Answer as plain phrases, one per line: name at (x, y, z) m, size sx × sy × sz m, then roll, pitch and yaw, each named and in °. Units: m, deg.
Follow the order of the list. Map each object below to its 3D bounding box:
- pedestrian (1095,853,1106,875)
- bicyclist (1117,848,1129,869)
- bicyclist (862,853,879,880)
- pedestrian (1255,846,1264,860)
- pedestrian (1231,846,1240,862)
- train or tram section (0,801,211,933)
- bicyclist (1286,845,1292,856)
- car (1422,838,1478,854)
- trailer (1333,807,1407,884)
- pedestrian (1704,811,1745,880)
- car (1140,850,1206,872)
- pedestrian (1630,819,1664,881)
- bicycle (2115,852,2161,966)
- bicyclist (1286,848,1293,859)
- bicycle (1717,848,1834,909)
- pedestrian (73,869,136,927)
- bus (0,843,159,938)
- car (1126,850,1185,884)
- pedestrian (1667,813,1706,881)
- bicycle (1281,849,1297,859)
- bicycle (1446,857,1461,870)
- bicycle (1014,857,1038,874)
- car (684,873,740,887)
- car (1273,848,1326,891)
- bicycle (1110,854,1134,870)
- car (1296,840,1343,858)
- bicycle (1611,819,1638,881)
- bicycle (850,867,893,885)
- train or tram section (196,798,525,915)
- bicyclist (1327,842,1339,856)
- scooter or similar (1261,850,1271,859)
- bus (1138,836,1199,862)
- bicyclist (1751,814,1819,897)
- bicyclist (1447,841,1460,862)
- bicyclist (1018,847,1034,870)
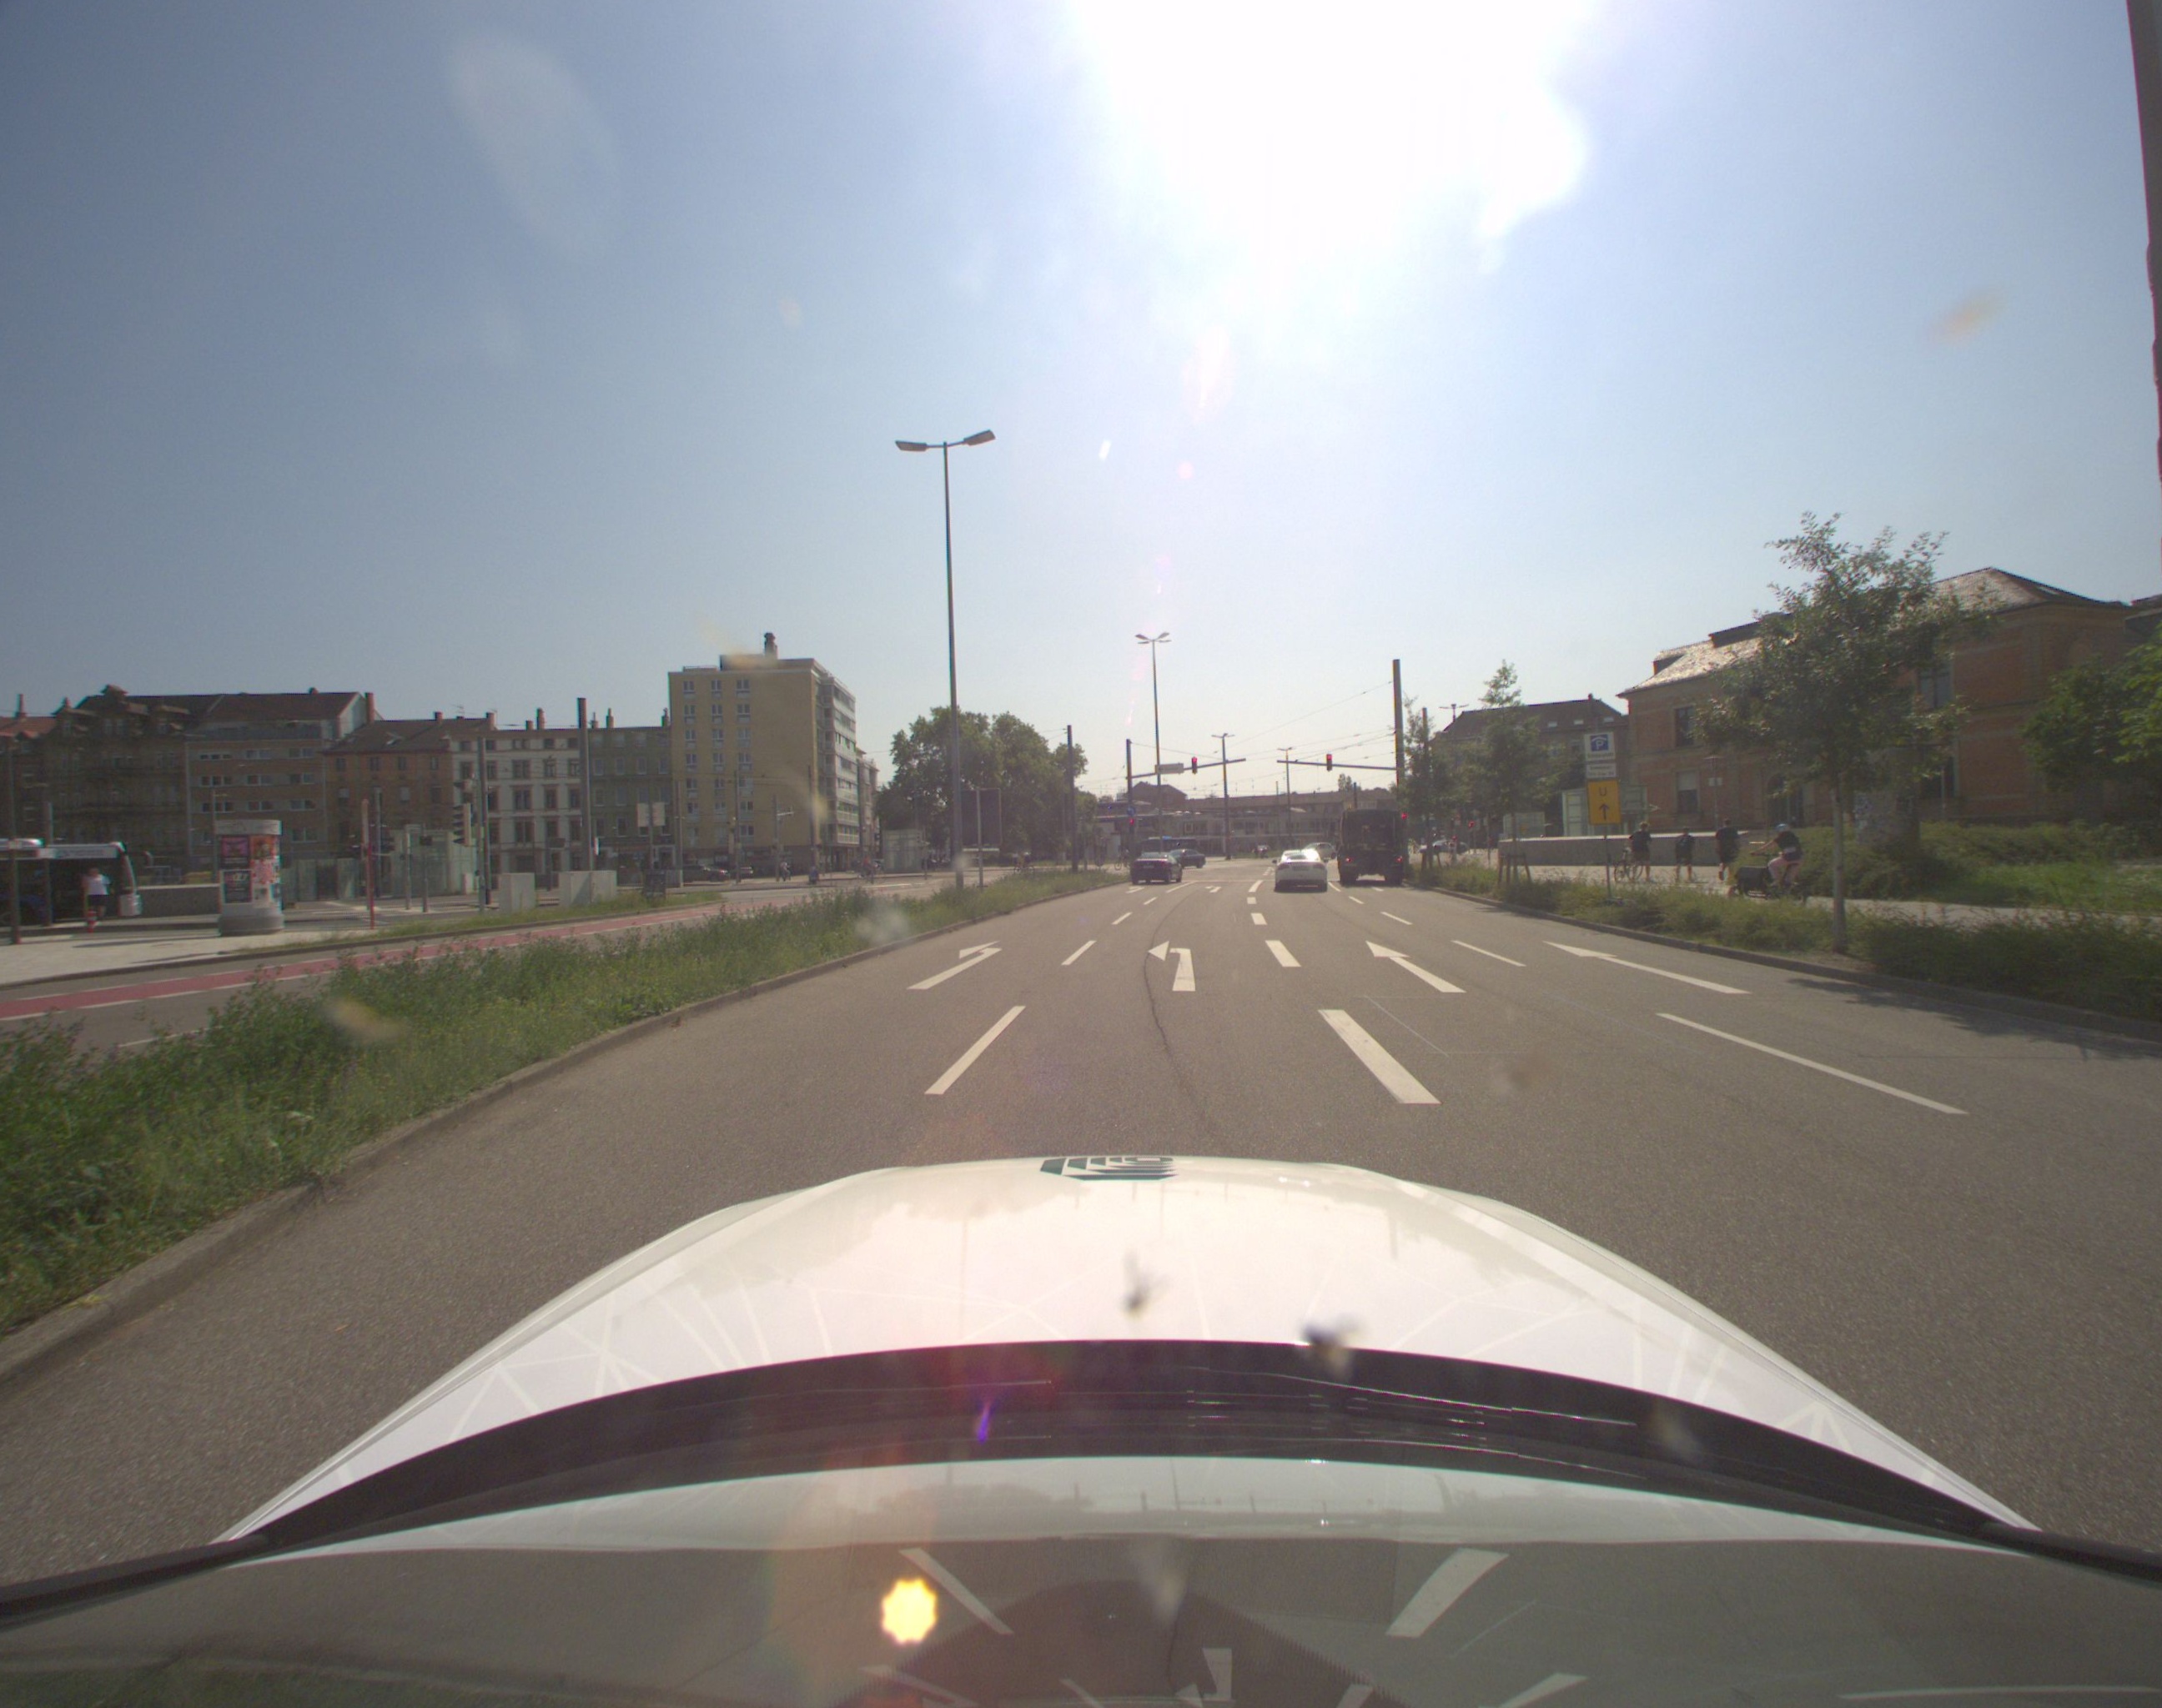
pedestrian at (1.140, 0.582, 47.472) m, size 0.595 × 1.268 × 0.504 m, roll -2°, pitch 2°, yaw -5°
bicyclist at (3.329, 0.367, 64.621) m, size 0.623 × 1.650 × 0.684 m, roll -2°, pitch 0°, yaw -43°
bicyclist at (-12.794, 0.765, 49.495) m, size 0.837 × 1.642 × 0.606 m, roll -1°, pitch -1°, yaw -4°
pedestrian at (20.282, -0.154, 92.540) m, size 0.638 × 1.561 × 0.742 m, roll -2°, pitch 0°, yaw -24°
pedestrian at (17.524, -0.027, 92.419) m, size 0.776 × 1.752 × 0.814 m, roll -2°, pitch 0°, yaw 29°
train or tram section at (-30.639, 0.445, 22.798) m, size 3.104 × 3.569 × 8.298 m, roll -4°, pitch 0°, yaw 40°
bicyclist at (22.559, -0.362, 88.233) m, size 0.498 × 1.188 × 0.510 m, roll -2°, pitch 0°, yaw 30°
car at (35.975, -0.748, 79.374) m, size 4.560 × 1.400 × 1.944 m, roll -2°, pitch 0°, yaw -3°
trailer at (12.220, -0.351, 34.868) m, size 2.445 × 3.007 × 6.351 m, roll -1°, pitch 0°, yaw 15°
pedestrian at (19.042, -0.246, 24.125) m, size 0.770 × 1.973 × 0.758 m, roll -2°, pitch 0°, yaw 28°
car at (6.900, 0.551, 61.050) m, size 4.572 × 1.438 × 1.983 m, roll -2°, pitch 0°, yaw -26°
pedestrian at (17.377, -0.127, 25.016) m, size 0.654 × 1.860 × 0.797 m, roll -2°, pitch 0°, yaw 24°
bicycle at (11.457, 0.566, 7.580) m, size 0.690 × 1.155 × 2.374 m, roll -4°, pitch 0°, yaw 4°
bicyclist at (22.984, -0.079, 89.751) m, size 0.594 × 1.247 × 0.505 m, roll -2°, pitch 0°, yaw -13°
bicycle at (13.272, 0.439, 15.638) m, size 0.554 × 1.060 × 2.005 m, roll -2°, pitch 0°, yaw 2°
pedestrian at (-33.530, 1.505, 27.989) m, size 1.025 × 1.886 × 1.319 m, roll -4°, pitch -1°, yaw 42°
bus at (-38.135, 1.318, 25.224) m, size 3.067 × 3.070 × 12.562 m, roll -3°, pitch 0°, yaw 40°
car at (3.397, 0.560, 36.552) m, size 1.744 × 1.404 × 3.999 m, roll -1°, pitch 0°, yaw 18°
pedestrian at (18.073, -0.217, 24.329) m, size 0.770 × 1.973 × 0.758 m, roll -2°, pitch 0°, yaw 28°
bicycle at (22.498, 0.032, 88.268) m, size 1.575 × 0.985 × 0.510 m, roll -2°, pitch 0°, yaw 30°
bicycle at (24.023, 0.584, 52.502) m, size 0.669 × 0.777 × 2.138 m, roll -2°, pitch 0°, yaw 19°
bicycle at (-4.073, 0.859, 60.146) m, size 0.975 × 1.178 × 2.813 m, roll -2°, pitch 0°, yaw -19°
car at (-30.741, 2.150, 68.006) m, size 3.881 × 0.987 × 1.711 m, roll -2°, pitch 0°, yaw -9°
car at (8.141, 0.527, 30.246) m, size 1.745 × 1.455 × 4.444 m, roll -1°, pitch 0°, yaw 15°
bicycle at (3.265, 0.626, 64.567) m, size 2.055 × 1.137 × 0.690 m, roll -2°, pitch 0°, yaw -43°
car at (21.693, -0.463, 73.936) m, size 4.079 × 1.425 × 1.759 m, roll -2°, pitch 0°, yaw -30°
bicycle at (16.829, -0.133, 25.238) m, size 0.451 × 1.860 × 1.371 m, roll -2°, pitch 0°, yaw 25°
bicycle at (-12.706, 1.322, 49.486) m, size 2.404 × 0.953 × 0.603 m, roll -2°, pitch 0°, yaw -5°
train or tram section at (-25.376, -0.039, 29.173) m, size 3.104 × 3.569 × 8.298 m, roll -4°, pitch 0°, yaw 40°
bicyclist at (27.978, -0.555, 90.353) m, size 0.902 × 1.501 × 0.863 m, roll -2°, pitch 0°, yaw -5°
scooter or similar at (21.133, 0.071, 92.950) m, size 0.840 × 0.974 × 0.786 m, roll -2°, pitch 0°, yaw -25°
bus at (11.173, -0.701, 102.285) m, size 3.024 × 2.931 × 11.927 m, roll -2°, pitch 0°, yaw 30°
bicyclist at (13.242, 0.030, 15.338) m, size 0.546 × 1.496 × 0.804 m, roll -2°, pitch 0°, yaw 1°
bicyclist at (23.958, -0.180, 52.406) m, size 0.669 × 1.320 × 0.687 m, roll -2°, pitch 0°, yaw 19°
bicyclist at (-4.090, 0.317, 60.150) m, size 0.975 × 1.654 × 0.658 m, roll -2°, pitch 0°, yaw -20°
